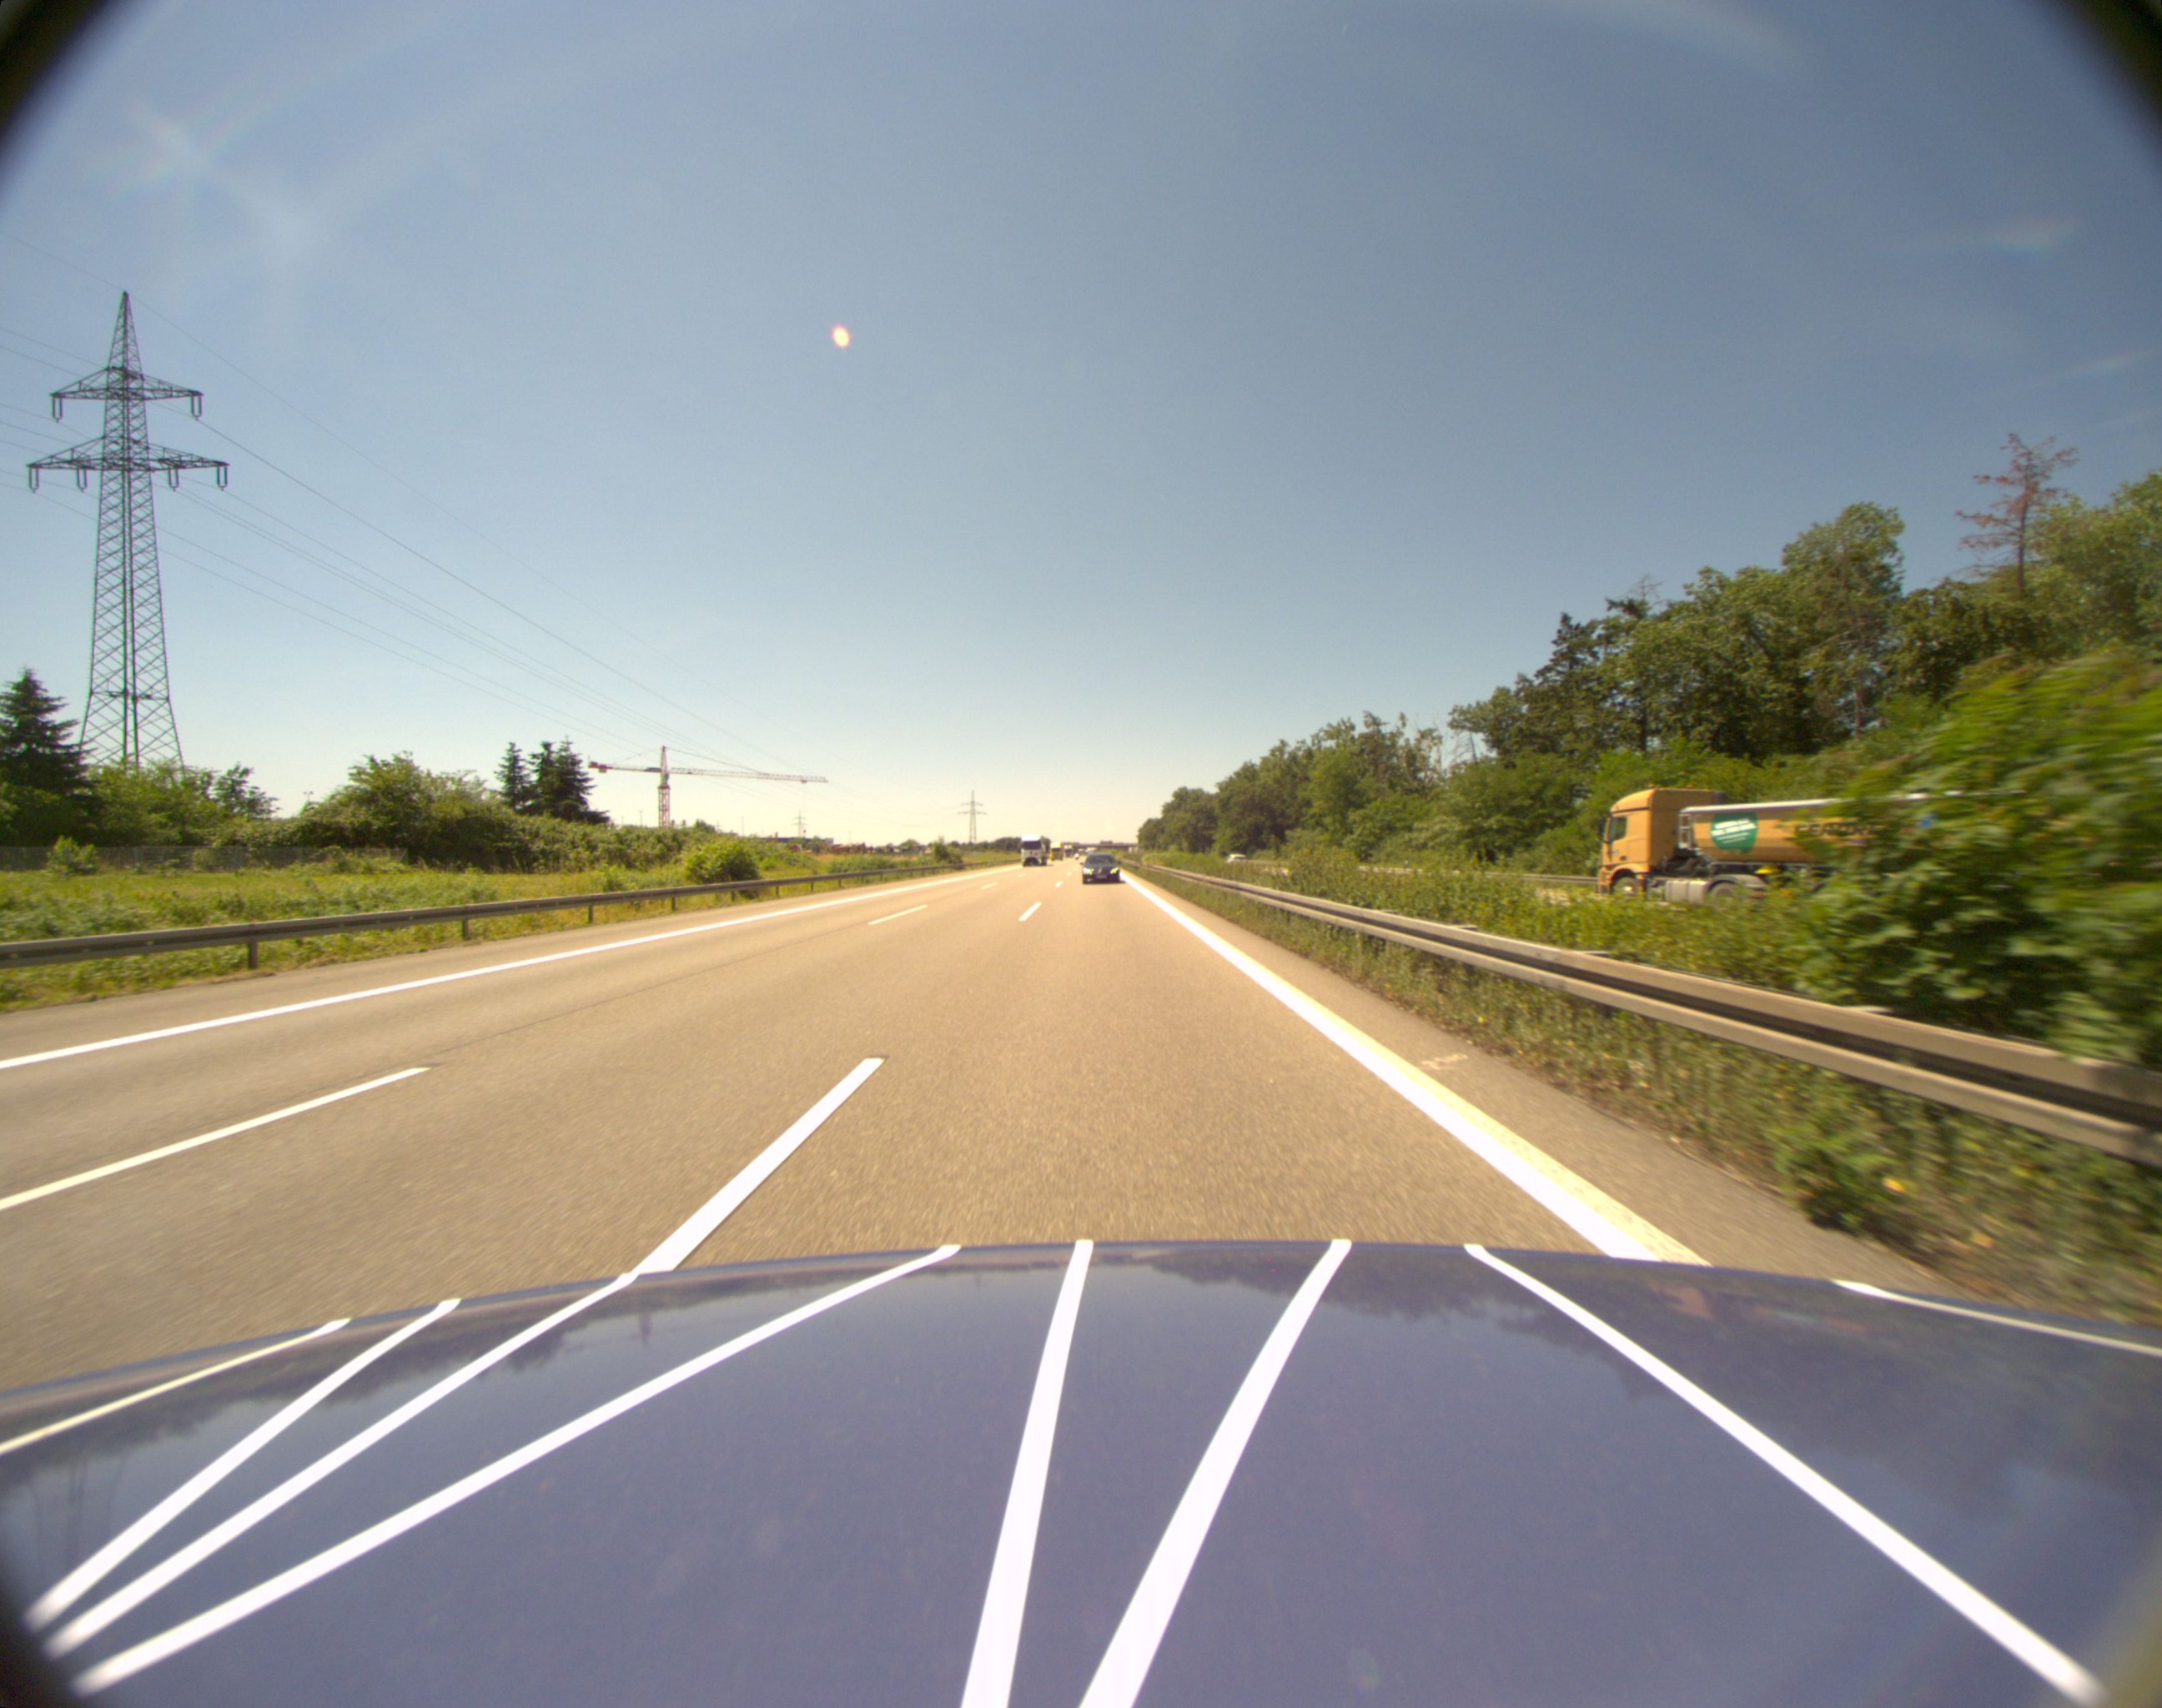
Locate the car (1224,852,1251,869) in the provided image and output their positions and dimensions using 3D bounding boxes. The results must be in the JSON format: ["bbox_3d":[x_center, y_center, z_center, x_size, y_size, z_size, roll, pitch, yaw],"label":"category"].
[{"bbox_3d":[14.563,0.554,70.886,1.644,1.474,3.744,2,1,0],"label":"car"}]

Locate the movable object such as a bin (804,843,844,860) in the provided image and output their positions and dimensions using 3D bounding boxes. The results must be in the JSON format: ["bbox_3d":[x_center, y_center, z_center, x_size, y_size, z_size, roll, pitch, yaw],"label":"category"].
[{"bbox_3d":[-55.801,-0.576,165.018,7.583,3.443,2.881,-2,1,2],"label":"movable object such as a bin"}]

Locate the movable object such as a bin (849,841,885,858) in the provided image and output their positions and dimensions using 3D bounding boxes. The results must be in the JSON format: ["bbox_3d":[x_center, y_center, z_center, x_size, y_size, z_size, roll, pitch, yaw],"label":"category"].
[{"bbox_3d":[-53.910,-1.130,191.547,8.113,3.928,3.137,-2,1,2],"label":"movable object such as a bin"}]

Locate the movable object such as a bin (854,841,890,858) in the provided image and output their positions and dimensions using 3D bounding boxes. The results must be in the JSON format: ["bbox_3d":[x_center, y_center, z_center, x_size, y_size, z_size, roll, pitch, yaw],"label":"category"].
[{"bbox_3d":[-53.799,-1.171,195.511,8.113,3.928,3.137,-2,1,2],"label":"movable object such as a bin"}]

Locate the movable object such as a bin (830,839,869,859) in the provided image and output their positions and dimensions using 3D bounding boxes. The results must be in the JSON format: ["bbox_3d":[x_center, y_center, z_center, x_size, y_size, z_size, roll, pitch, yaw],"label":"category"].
[{"bbox_3d":[-54.474,-1.177,178.814,8.113,4.272,2.881,-2,1,2],"label":"movable object such as a bin"}]

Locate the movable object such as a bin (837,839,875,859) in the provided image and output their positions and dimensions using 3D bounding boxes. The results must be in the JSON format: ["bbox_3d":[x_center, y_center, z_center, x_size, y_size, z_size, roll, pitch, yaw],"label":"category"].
[{"bbox_3d":[-54.293,-1.228,183.417,8.113,4.272,3.351,-2,1,2],"label":"movable object such as a bin"}]

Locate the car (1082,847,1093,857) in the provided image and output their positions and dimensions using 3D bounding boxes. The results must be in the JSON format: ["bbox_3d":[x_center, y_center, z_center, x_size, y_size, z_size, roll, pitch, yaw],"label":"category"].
[{"bbox_3d":[1.061,-0.332,125.002,1.861,1.696,3.999,0,1,0],"label":"car"}]

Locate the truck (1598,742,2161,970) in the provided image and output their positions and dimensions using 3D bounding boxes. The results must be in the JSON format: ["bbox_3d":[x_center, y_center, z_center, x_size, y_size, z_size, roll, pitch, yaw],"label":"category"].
[{"bbox_3d":[17.572,-0.006,18.048,2.544,3.613,11.843,1,1,1],"label":"truck"}]

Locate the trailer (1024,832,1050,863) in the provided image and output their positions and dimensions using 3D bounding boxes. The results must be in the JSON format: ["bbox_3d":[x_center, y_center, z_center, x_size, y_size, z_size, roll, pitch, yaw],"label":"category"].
[{"bbox_3d":[-5.929,-0.920,103.529,2.573,3.871,13.278,-2,1,0],"label":"trailer"}]

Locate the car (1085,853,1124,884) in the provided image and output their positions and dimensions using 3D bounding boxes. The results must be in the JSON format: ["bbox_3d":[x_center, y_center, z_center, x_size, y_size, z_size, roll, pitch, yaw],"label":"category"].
[{"bbox_3d":[1.113,0.676,38.037,1.808,1.385,3.999,-2,1,0],"label":"car"}]

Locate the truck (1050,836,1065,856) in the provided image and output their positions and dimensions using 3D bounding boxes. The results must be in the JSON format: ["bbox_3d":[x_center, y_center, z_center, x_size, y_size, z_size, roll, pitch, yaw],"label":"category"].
[{"bbox_3d":[-5.101,-1.784,169.106,2.978,4.240,12.609,0,1,0],"label":"truck"}]

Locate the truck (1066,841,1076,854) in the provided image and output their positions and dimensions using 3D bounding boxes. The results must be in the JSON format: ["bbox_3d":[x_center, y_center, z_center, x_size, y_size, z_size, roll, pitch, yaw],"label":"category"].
[{"bbox_3d":[-3.149,-2.211,250.960,2.978,4.240,12.609,0,1,0],"label":"truck"}]

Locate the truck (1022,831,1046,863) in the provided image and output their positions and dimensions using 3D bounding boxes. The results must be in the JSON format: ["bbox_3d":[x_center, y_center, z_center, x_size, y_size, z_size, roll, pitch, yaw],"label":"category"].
[{"bbox_3d":[-5.939,-0.858,96.916,2.573,3.871,5.722,-2,1,0],"label":"truck"}]

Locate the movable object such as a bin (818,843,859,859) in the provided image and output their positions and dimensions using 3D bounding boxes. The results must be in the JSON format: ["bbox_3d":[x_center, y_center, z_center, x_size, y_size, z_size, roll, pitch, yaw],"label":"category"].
[{"bbox_3d":[-54.987,-0.678,172.410,8.113,3.443,2.881,-2,1,2],"label":"movable object such as a bin"}]

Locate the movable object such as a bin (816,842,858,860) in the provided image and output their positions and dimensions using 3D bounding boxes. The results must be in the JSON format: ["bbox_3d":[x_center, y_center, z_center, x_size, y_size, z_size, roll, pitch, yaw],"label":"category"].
[{"bbox_3d":[-54.255,-0.677,169.013,8.113,3.443,2.881,-2,1,2],"label":"movable object such as a bin"}]

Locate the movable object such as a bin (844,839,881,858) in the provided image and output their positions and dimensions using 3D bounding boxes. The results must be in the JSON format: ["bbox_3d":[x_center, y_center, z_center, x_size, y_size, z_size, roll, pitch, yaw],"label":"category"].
[{"bbox_3d":[-53.932,-1.281,187.540,8.113,4.272,3.299,-2,1,2],"label":"movable object such as a bin"}]
